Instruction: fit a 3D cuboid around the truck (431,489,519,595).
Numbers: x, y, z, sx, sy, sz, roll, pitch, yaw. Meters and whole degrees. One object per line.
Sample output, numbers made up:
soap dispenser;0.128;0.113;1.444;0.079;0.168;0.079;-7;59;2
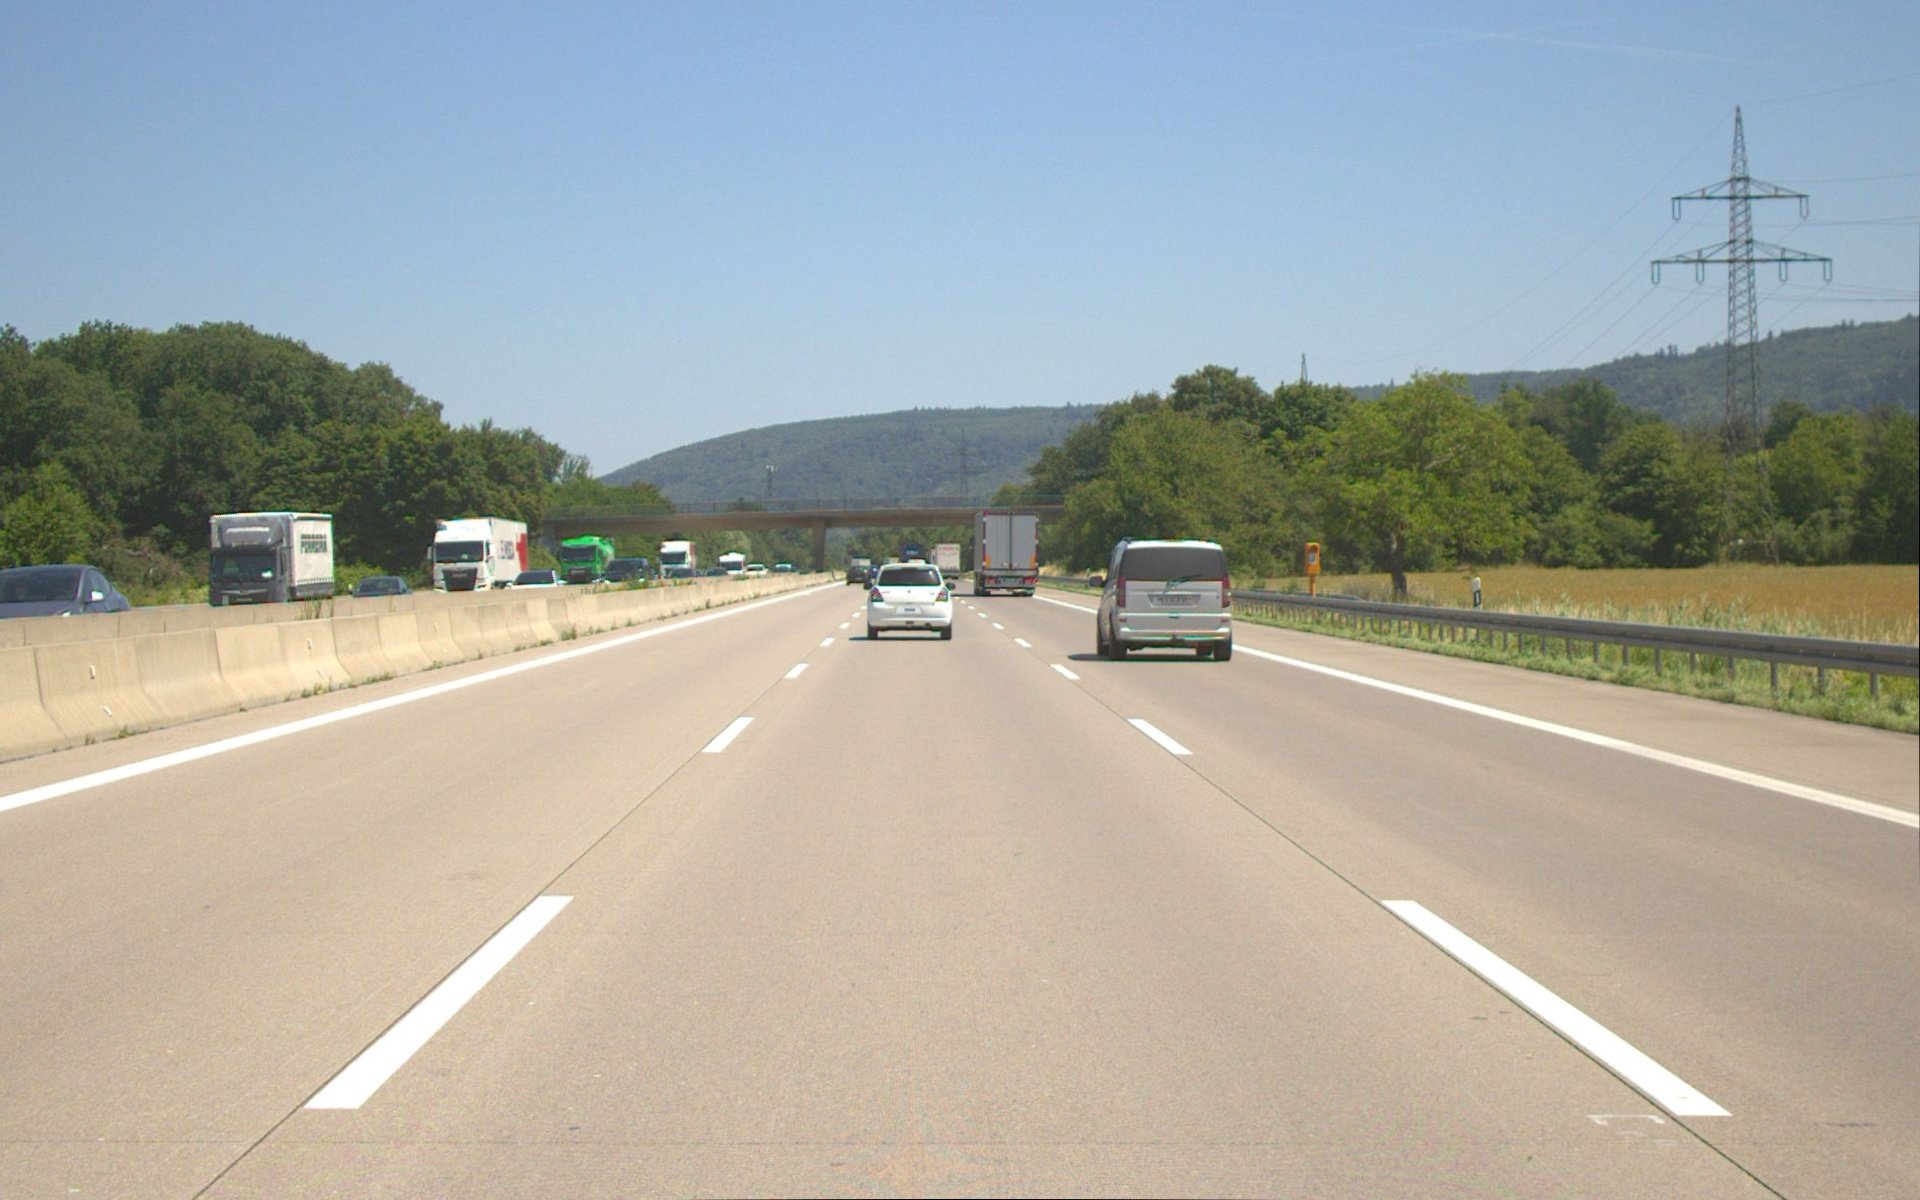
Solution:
truck;-22.130;-2.652;157.148;3.082;4.745;6.498;1;1;0

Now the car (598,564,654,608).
car;-14.489;-0.619;149.177;1.993;1.789;4.467;1;1;0

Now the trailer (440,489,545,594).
trailer;-22.177;-2.770;163.821;3.082;4.745;14.374;1;1;0

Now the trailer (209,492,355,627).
trailer;-21.450;-1.307;109.178;2.953;4.091;8.484;1;1;0

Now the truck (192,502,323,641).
truck;-21.418;-0.905;105.055;2.953;4.113;5.086;1;1;0

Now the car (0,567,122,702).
car;-13.466;0.448;49.233;1.928;1.787;4.397;1;1;-1

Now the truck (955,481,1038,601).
truck;1.789;-2.952;171.585;3.720;5.791;7.054;1;1;-2

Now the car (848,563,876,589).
car;-7.006;-1.745;245.390;1.928;1.787;4.000;1;1;-1

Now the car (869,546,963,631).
car;-0.903;-0.253;69.037;1.819;1.656;4.000;0;1;-1

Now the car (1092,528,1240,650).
car;3.245;-0.205;54.771;1.993;1.842;4.000;1;1;-1

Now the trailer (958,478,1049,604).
trailer;2.012;-2.842;165.419;3.720;5.791;12.163;1;1;-2

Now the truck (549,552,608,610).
truck;-24.610;-1.260;222.249;3.049;3.622;7.978;1;1;-1
